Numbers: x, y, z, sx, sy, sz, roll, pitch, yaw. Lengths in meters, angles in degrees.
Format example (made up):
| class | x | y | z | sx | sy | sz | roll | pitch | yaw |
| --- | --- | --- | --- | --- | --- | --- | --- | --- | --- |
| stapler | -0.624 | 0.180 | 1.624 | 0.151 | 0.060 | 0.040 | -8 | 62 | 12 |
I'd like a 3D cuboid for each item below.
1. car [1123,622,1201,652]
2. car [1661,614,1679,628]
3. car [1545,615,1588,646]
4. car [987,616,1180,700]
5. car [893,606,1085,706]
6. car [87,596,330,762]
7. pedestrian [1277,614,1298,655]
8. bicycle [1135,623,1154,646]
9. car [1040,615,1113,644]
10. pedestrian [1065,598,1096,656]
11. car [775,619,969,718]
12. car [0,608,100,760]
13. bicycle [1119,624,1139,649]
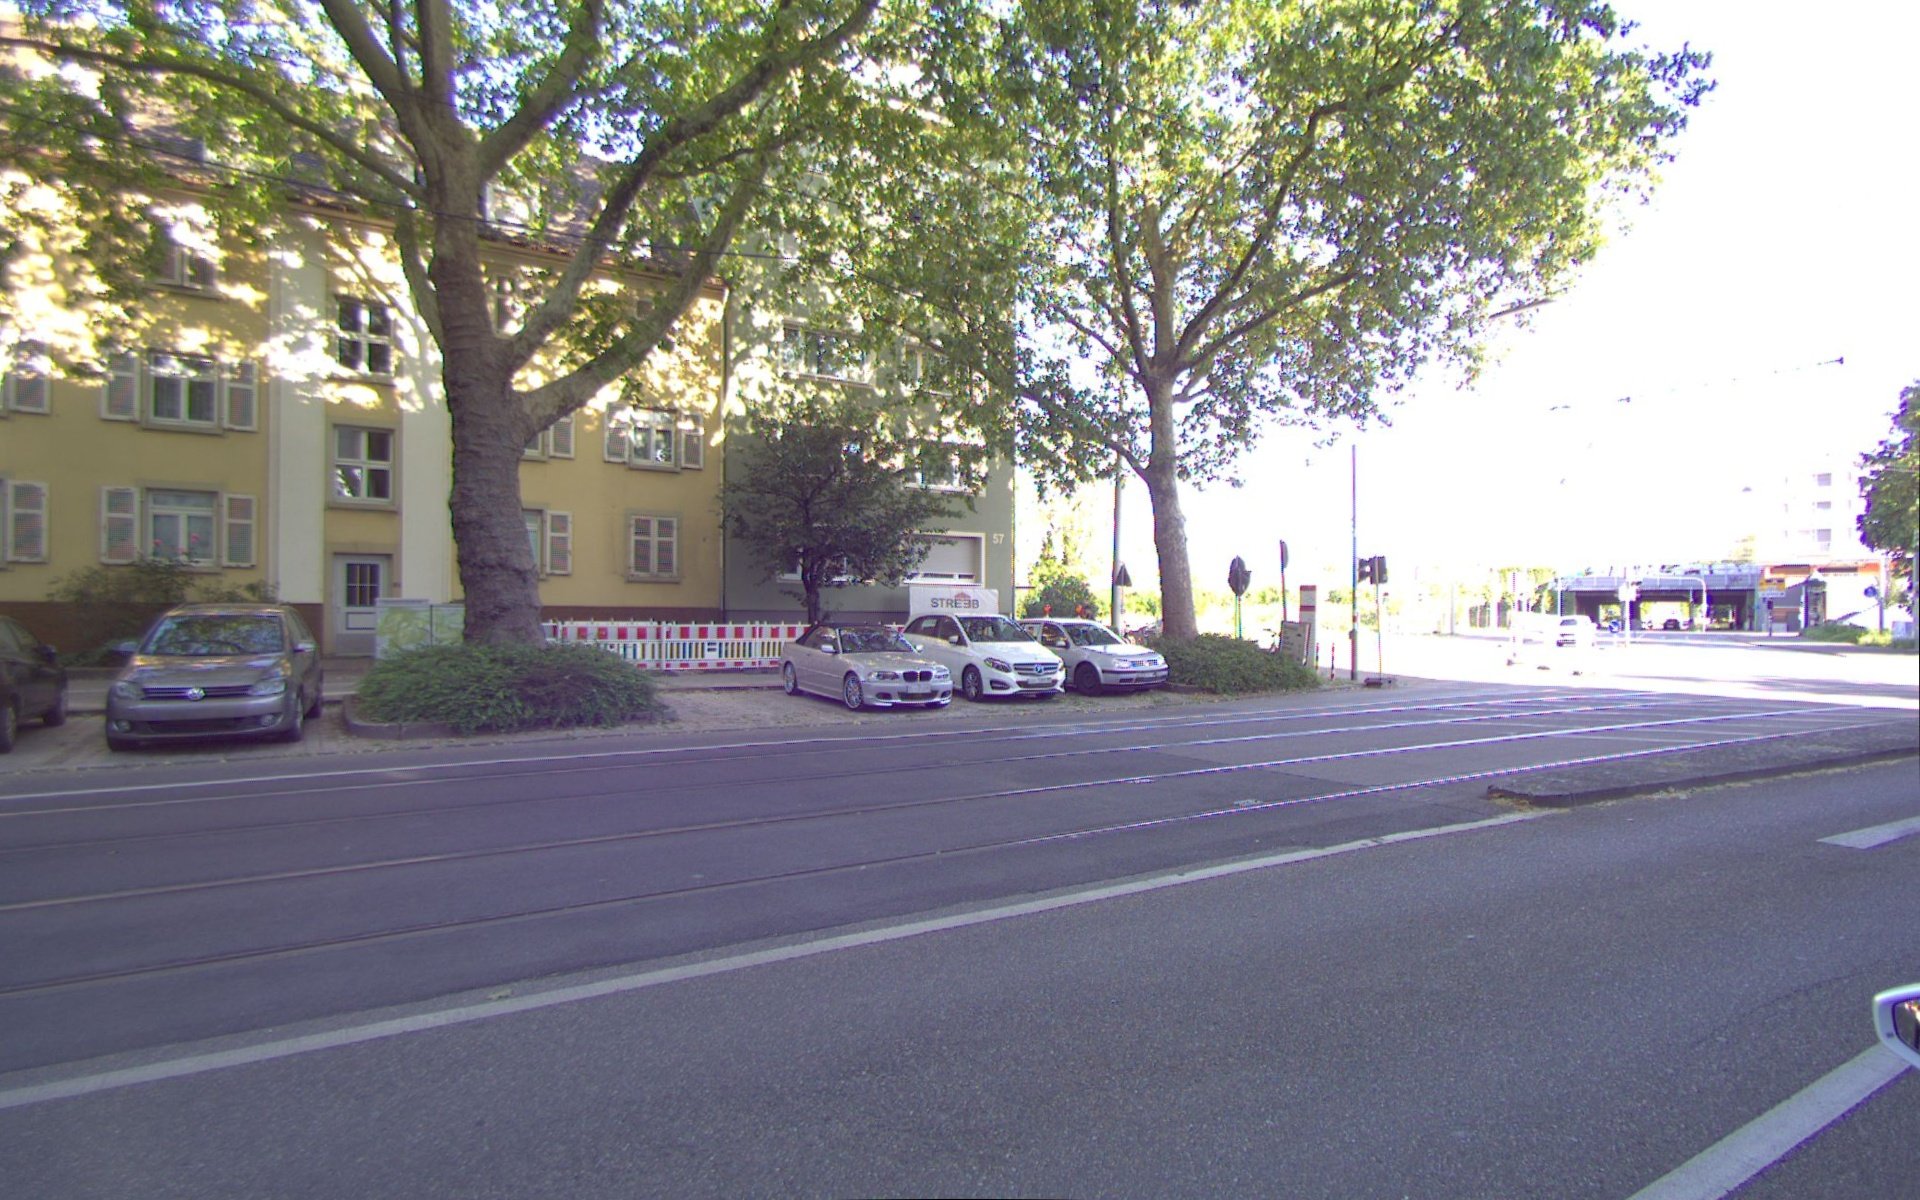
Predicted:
| class | x | y | z | sx | sy | sz | roll | pitch | yaw |
| --- | --- | --- | --- | --- | --- | --- | --- | --- | --- |
| car | 11.612 | 2.092 | 57.763 | 3.933 | 1.439 | 1.887 | 0 | 5 | 35 |
| car | 105.188 | 3.131 | 148.850 | 1.966 | 2.040 | 3.989 | 2 | 0 | 34 |
| car | 33.580 | 1.662 | 55.648 | 1.965 | 1.653 | 4.620 | 0 | -1 | 31 |
| car | 2.424 | 1.118 | 20.567 | 1.688 | 1.436 | 3.960 | 2 | 0 | -36 |
| car | 0.423 | 0.985 | 19.185 | 1.822 | 1.633 | 4.052 | 2 | 0 | -29 |
| car | -8.959 | 0.813 | 12.341 | 1.822 | 1.641 | 4.052 | 2 | 0 | -29 |
| pedestrian | 13.247 | 1.387 | 40.636 | 0.591 | 1.617 | 0.682 | 2 | 0 | 35 |
| bicycle | 6.329 | 1.169 | 34.506 | 0.351 | 0.769 | 1.781 | 0 | -1 | 1 |
| car | 7.066 | 1.756 | 61.053 | 3.933 | 1.439 | 1.887 | 0 | 5 | 35 |
| pedestrian | 3.369 | 0.750 | 28.063 | 0.592 | 1.589 | 0.741 | 0 | 0 | 33 |
| car | -1.641 | 1.088 | 17.294 | 1.822 | 1.387 | 4.052 | 2 | 0 | -29 |
| car | -11.395 | 0.863 | 11.429 | 1.673 | 1.466 | 3.834 | 2 | 0 | -29 |
| bicycle | 5.451 | 1.156 | 32.356 | 0.351 | 0.769 | 1.781 | 0 | -1 | 18 |
